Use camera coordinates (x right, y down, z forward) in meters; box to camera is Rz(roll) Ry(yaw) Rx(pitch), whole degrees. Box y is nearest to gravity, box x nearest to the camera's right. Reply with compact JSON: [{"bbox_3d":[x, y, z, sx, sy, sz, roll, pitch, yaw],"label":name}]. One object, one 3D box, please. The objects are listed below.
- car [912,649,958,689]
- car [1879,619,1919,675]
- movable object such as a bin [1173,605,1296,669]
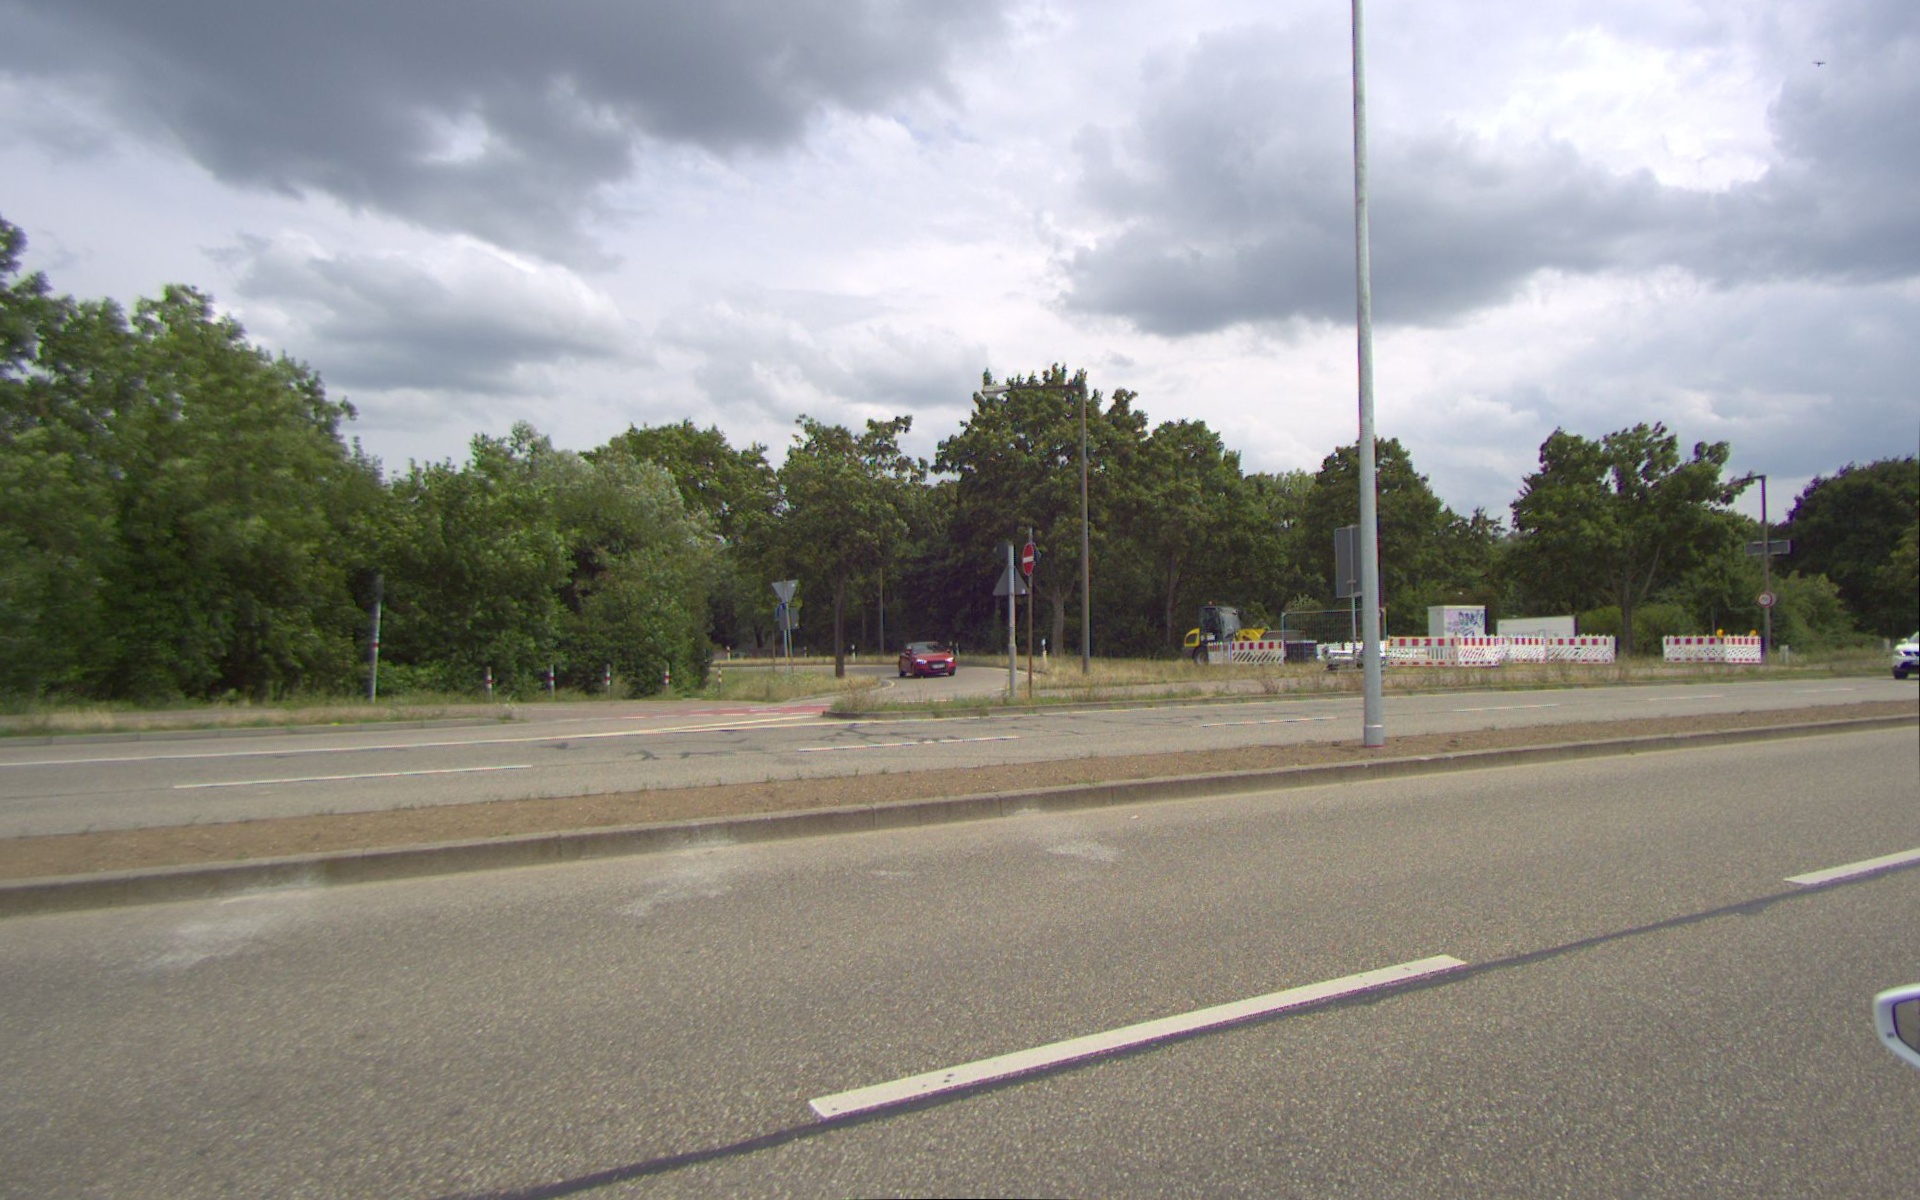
[{"bbox_3d":[-1.074,2.825,41.895,1.747,1.392,4.295,0,-1,-4],"label":"car"},{"bbox_3d":[30.288,1.406,30.886,4.328,1.651,1.688,0,-1,-28],"label":"car"},{"bbox_3d":[11.044,1.434,40.647,1.982,2.429,4.543,0,-1,-38],"label":"movable object such as a bin"}]
